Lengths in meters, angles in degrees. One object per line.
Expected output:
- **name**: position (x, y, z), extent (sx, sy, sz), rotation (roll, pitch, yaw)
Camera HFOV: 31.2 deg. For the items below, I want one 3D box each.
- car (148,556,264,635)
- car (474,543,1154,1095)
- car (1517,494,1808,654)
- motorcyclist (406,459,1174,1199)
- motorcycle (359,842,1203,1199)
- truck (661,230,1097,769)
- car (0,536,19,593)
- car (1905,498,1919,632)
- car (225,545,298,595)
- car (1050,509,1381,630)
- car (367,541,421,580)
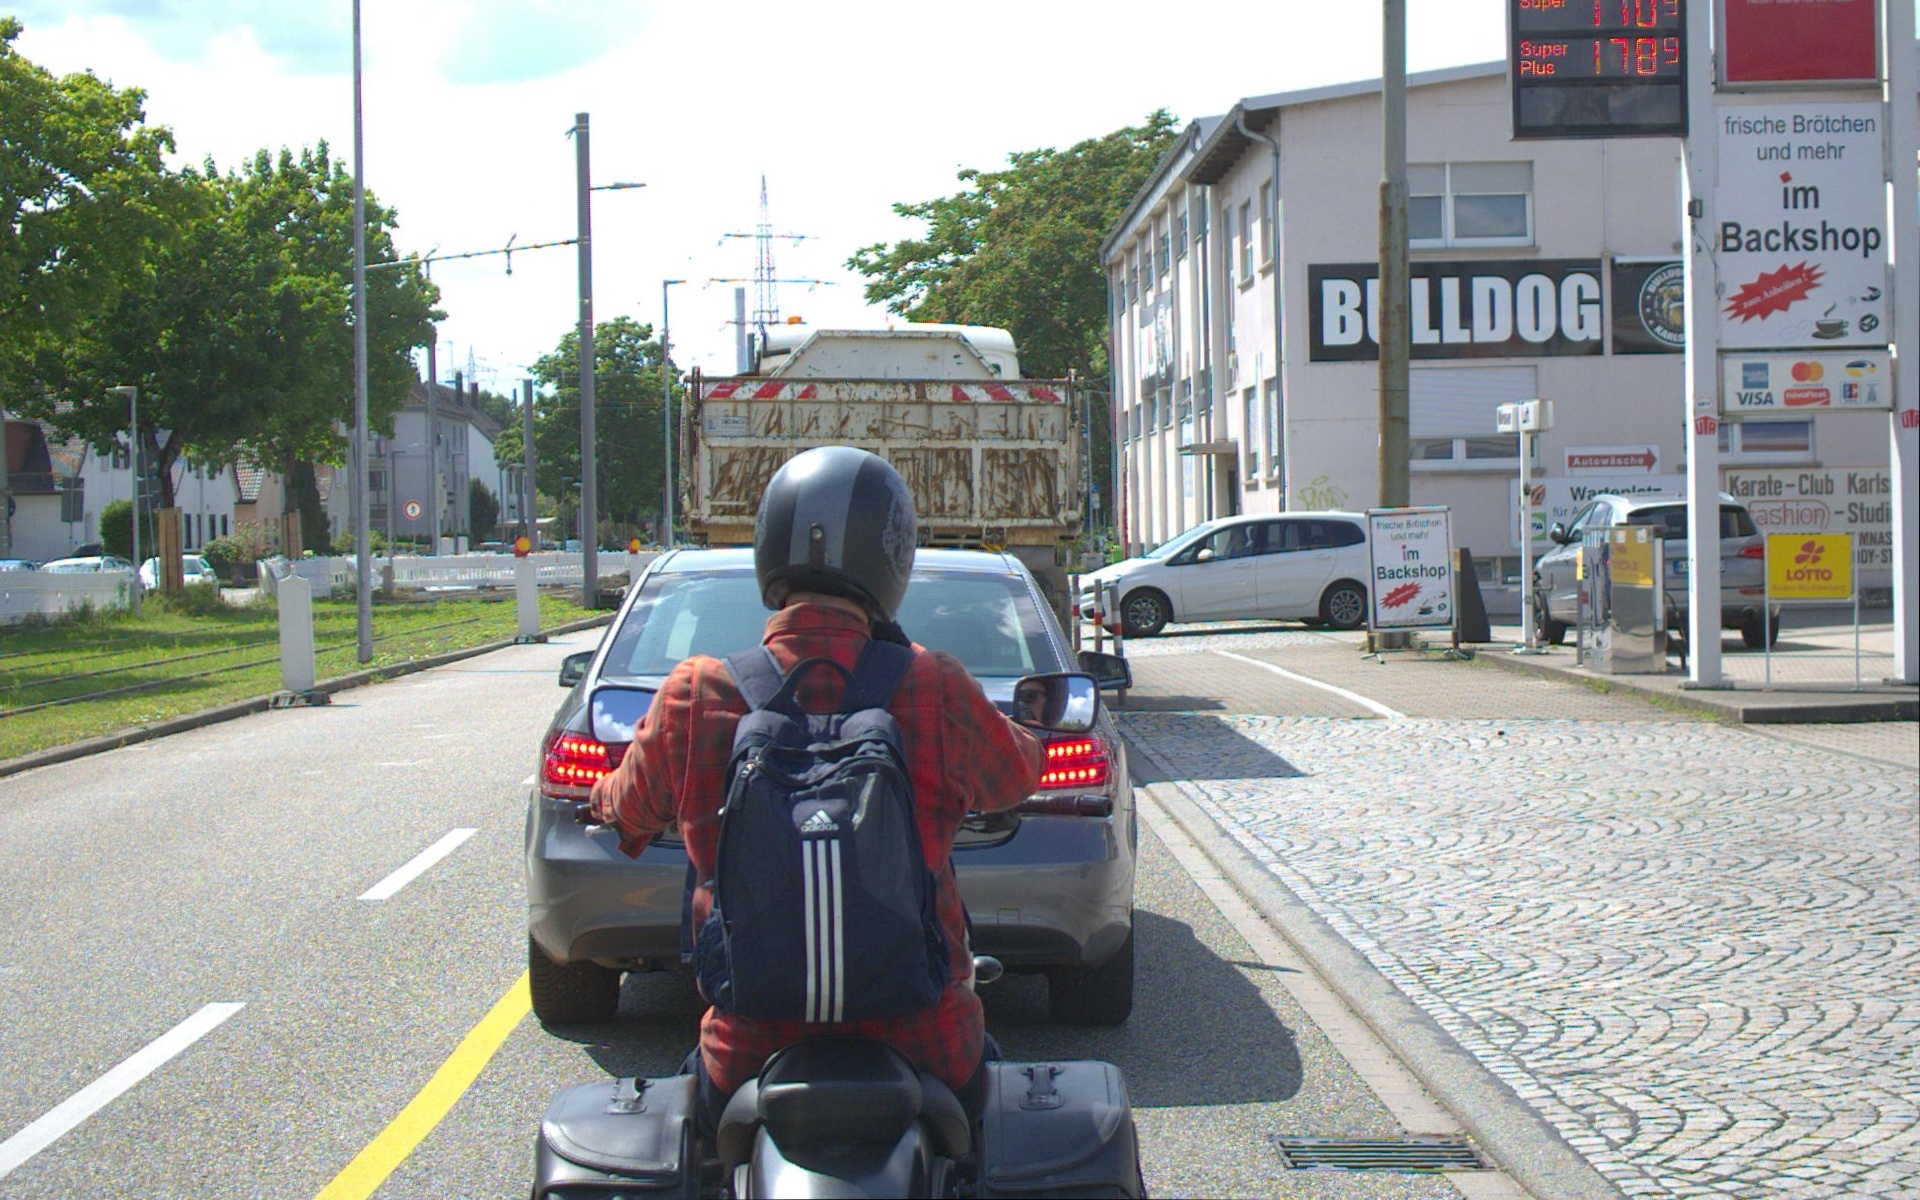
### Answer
- **car**: position (-17.500, -0.128, 79.959), extent (1.776, 1.717, 4.128), rotation (-1, 1, 0)
- **car**: position (-0.419, 0.563, 11.330), extent (1.823, 1.447, 4.000), rotation (1, 1, -1)
- **car**: position (7.376, -0.304, 36.520), extent (1.667, 1.557, 4.245), rotation (-1, 1, -8)
- **motorcyclist**: position (-0.219, 0.613, 5.026), extent (0.979, 1.597, 1.088), rotation (-1, 1, -1)
- **motorcycle**: position (-0.216, 0.955, 5.337), extent (0.979, 0.894, 2.653), rotation (-1, 1, -1)
- **truck**: position (-0.546, -0.714, 25.362), extent (2.638, 3.285, 8.057), rotation (-1, 1, -1)
- **car**: position (-30.047, -1.058, 104.404), extent (1.776, 1.717, 4.128), rotation (-1, 1, 0)
- **car**: position (11.731, -0.379, 37.089), extent (1.806, 1.498, 3.834), rotation (-1, 1, -3)
- **car**: position (-25.421, -1.095, 125.241), extent (1.776, 1.717, 4.128), rotation (-1, 1, 0)
- **car**: position (3.477, -0.434, 47.062), extent (4.229, 1.537, 1.673), rotation (-1, 1, -8)
- **car**: position (-26.438, -1.846, 160.660), extent (1.776, 1.717, 4.250), rotation (-1, 1, 0)
